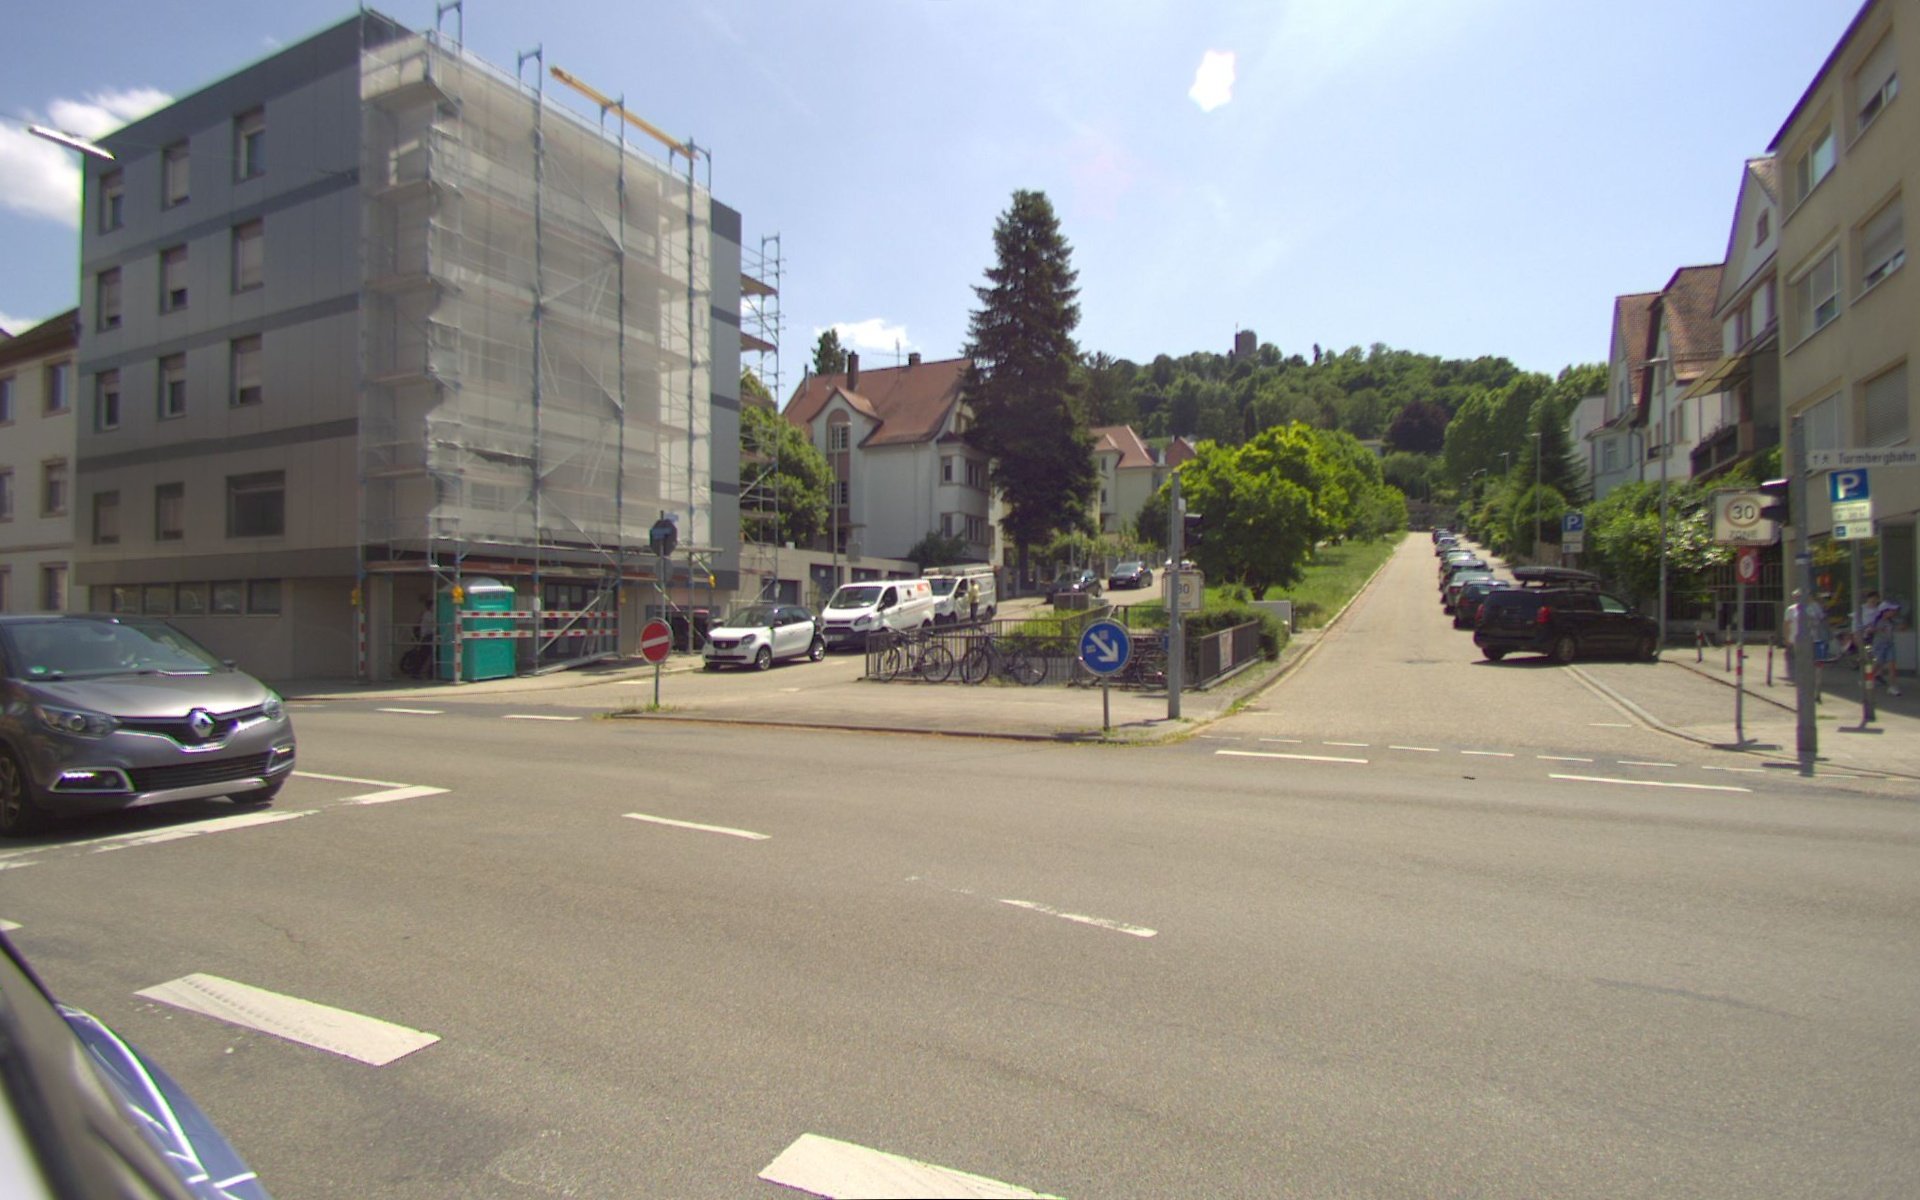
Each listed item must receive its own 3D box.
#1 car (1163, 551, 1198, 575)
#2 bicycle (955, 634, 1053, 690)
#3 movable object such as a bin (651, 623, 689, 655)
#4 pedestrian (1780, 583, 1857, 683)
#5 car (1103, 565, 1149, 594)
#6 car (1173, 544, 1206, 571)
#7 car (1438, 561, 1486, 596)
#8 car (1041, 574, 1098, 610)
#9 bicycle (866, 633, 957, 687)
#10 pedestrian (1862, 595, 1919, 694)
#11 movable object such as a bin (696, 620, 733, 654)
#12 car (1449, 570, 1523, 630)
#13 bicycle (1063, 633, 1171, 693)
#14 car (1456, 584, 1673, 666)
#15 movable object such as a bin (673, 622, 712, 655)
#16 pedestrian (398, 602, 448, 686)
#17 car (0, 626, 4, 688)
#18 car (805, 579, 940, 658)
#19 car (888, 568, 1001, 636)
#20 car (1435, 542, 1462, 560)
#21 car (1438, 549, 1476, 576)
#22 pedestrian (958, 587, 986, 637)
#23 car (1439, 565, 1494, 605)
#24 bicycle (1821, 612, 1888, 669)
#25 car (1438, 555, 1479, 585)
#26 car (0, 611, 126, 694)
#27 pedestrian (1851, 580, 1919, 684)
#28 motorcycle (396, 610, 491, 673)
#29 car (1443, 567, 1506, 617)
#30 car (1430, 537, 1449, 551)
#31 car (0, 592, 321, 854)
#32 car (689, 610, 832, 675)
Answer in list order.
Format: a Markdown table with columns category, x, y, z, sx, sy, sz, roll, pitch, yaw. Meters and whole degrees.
| category | x | y | z | sx | sy | sz | roll | pitch | yaw |
| --- | --- | --- | --- | --- | --- | --- | --- | --- | --- |
| car | 15.003 | -2.554 | 68.774 | 1.746 | 1.458 | 3.714 | -1 | 3 | 21 |
| bicycle | 0.789 | 1.100 | 18.272 | 1.735 | 0.974 | 0.395 | -1 | -1 | 24 |
| movable object such as a bin | -8.592 | 1.151 | 29.994 | 0.823 | 0.933 | 0.733 | -1 | 0 | 29 |
| pedestrian | 14.555 | 0.547 | 17.181 | 0.819 | 1.645 | 0.796 | -1 | -1 | 29 |
| car | 9.335 | -1.161 | 56.718 | 1.746 | 1.458 | 3.714 | -1 | 3 | 21 |
| car | 16.497 | -3.078 | 72.662 | 1.746 | 1.828 | 3.714 | -1 | 3 | 21 |
| car | 22.923 | -1.007 | 46.344 | 1.799 | 1.431 | 3.968 | -1 | 3 | 24 |
| car | 5.218 | -0.419 | 47.825 | 1.746 | 1.458 | 3.714 | -1 | 3 | 21 |
| bicycle | -0.924 | 1.123 | 19.011 | 1.708 | 0.974 | 0.395 | -1 | -1 | 24 |
| pedestrian | 14.341 | 0.668 | 15.476 | 0.645 | 1.487 | 0.681 | -1 | -1 | 28 |
| movable object such as a bin | -7.030 | 1.061 | 29.016 | 0.700 | 0.933 | 0.733 | -1 | 0 | 29 |
| car | 16.407 | -0.032 | 31.703 | 1.799 | 1.628 | 3.968 | -1 | 3 | 24 |
| bicycle | 2.685 | 1.064 | 17.356 | 1.772 | 0.974 | 0.395 | -1 | -1 | 24 |
| car | 13.291 | 0.518 | 22.256 | 4.254 | 1.676 | 2.007 | 0 | -1 | -24 |
| movable object such as a bin | -7.779 | 1.123 | 29.416 | 0.823 | 0.933 | 0.733 | -1 | 0 | 29 |
| pedestrian | -12.043 | 0.970 | 22.706 | 0.697 | 1.847 | 0.790 | -1 | -1 | -1 |
| car | -27.790 | 1.493 | 26.985 | 4.639 | 1.653 | 1.874 | -1 | -3 | 27 |
| car | -2.511 | 0.495 | 30.550 | 1.987 | 2.028 | 4.976 | -1 | 2 | 22 |
| car | -0.457 | 0.015 | 36.763 | 2.064 | 2.193 | 4.969 | -1 | 2 | 26 |
| car | 40.497 | -4.072 | 83.960 | 1.848 | 1.431 | 3.968 | -1 | 3 | 24 |
| car | 29.342 | -2.252 | 59.841 | 1.848 | 1.431 | 3.968 | -1 | 3 | 24 |
| pedestrian | 0.412 | 0.419 | 35.591 | 0.740 | 1.727 | 0.704 | -1 | -1 | 30 |
| car | 20.451 | -0.647 | 40.979 | 1.799 | 1.397 | 3.968 | -1 | 3 | 24 |
| bicycle | 17.134 | 0.758 | 19.420 | 0.496 | 1.034 | 1.728 | -1 | -1 | 26 |
| car | 26.821 | -1.643 | 54.547 | 1.848 | 1.431 | 3.968 | -1 | 3 | 24 |
| car | -22.463 | 1.224 | 24.358 | 4.764 | 1.839 | 1.902 | -1 | -3 | 27 |
| pedestrian | 15.113 | 0.518 | 16.541 | 0.645 | 1.645 | 0.681 | -1 | -1 | 28 |
| motorcycle | -12.597 | 0.991 | 24.754 | 2.007 | 1.483 | 0.885 | -1 | -1 | -24 |
| car | 18.442 | -0.307 | 36.378 | 1.799 | 1.562 | 3.968 | -1 | 3 | 24 |
| car | 52.525 | -6.113 | 110.909 | 1.848 | 1.431 | 3.968 | -1 | 3 | 24 |
| car | -7.138 | 0.804 | 8.094 | 3.983 | 1.644 | 1.742 | -1 | -1 | 29 |
| car | -4.972 | 1.025 | 25.744 | 1.747 | 1.458 | 3.709 | -1 | 0 | 24 |
